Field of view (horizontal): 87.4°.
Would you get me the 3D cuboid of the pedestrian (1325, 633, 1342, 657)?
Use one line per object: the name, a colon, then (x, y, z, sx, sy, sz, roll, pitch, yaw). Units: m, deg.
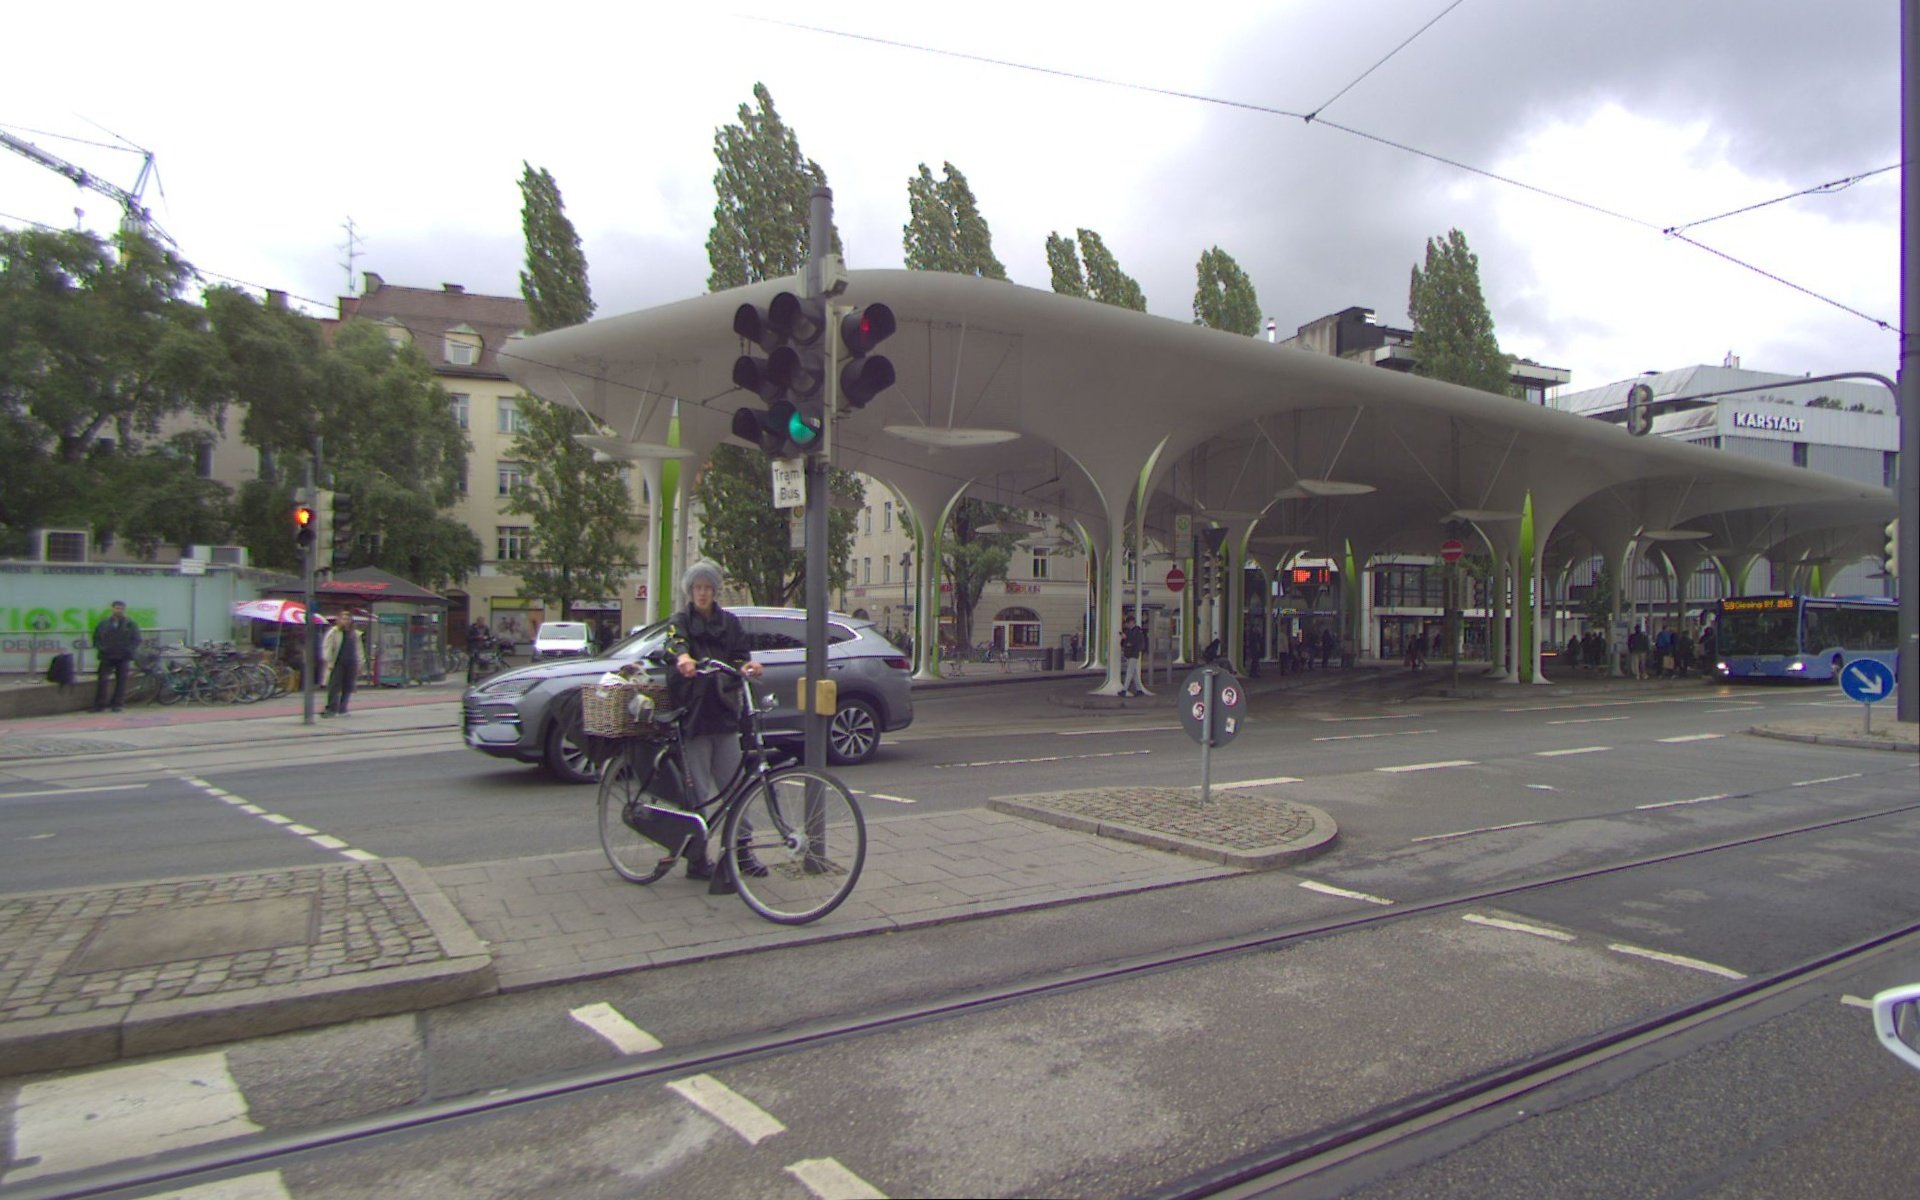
pedestrian: (25.914, 3.129, 69.647, 0.762, 1.683, 0.779, 1, -1, -20)

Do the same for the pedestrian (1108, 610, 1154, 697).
pedestrian: (3.772, 1.169, 22.107, 0.656, 1.863, 0.806, 0, -1, 42)

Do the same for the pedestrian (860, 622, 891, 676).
pedestrian: (-3.251, 1.879, 38.597, 1.010, 2.040, 1.002, 1, -1, -14)

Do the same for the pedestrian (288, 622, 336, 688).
pedestrian: (-16.254, 1.377, 25.221, 0.784, 1.621, 0.738, 1, -1, -15)

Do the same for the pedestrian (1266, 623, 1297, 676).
pedestrian: (10.959, 1.681, 34.215, 0.799, 1.750, 0.668, -1, -2, 44)

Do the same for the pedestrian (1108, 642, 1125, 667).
pedestrian: (7.116, 2.464, 45.645, 0.573, 1.098, 0.513, 1, -1, -37)

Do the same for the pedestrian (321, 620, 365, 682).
pedestrian: (-16.472, 1.358, 26.821, 0.784, 1.621, 0.738, 1, -1, -15)

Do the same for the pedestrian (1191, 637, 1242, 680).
pedestrian: (7.670, 1.745, 30.081, 1.248, 1.246, 0.811, 1, -1, -12)

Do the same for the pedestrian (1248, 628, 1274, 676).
pedestrian: (9.937, 1.704, 33.165, 0.586, 1.565, 0.634, -1, -2, 43)

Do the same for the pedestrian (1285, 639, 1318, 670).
pedestrian: (13.797, 2.190, 40.564, 0.867, 1.170, 0.908, 1, 1, -30)

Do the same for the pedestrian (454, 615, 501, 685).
pedestrian: (-12.617, 1.295, 26.254, 0.947, 1.785, 1.022, 1, -1, -33)

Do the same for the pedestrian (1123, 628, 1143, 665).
pedestrian: (7.938, 2.128, 46.079, 0.635, 1.669, 0.596, 2, -2, -37)

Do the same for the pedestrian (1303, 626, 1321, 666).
pedestrian: (15.398, 2.002, 43.962, 0.635, 1.719, 0.700, 0, -1, 11)

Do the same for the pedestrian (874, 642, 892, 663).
pedestrian: (-4.227, 2.874, 55.010, 0.606, 1.097, 1.835, 1, -1, -16)

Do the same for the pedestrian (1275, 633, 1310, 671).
pedestrian: (12.500, 1.953, 37.734, 0.829, 1.388, 0.961, 1, -1, -23)

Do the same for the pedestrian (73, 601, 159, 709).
pedestrian: (-13.965, 0.894, 16.647, 0.847, 1.739, 0.733, 1, -1, -19)

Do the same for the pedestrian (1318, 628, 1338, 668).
pedestrian: (15.113, 1.967, 41.262, 0.652, 1.585, 0.640, 0, -2, 35)

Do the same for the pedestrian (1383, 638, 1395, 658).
pedestrian: (30.610, 3.414, 71.633, 0.567, 1.351, 0.512, 1, -1, -11)

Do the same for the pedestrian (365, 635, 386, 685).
pedestrian: (-15.185, 1.557, 26.105, 0.425, 1.286, 0.409, 1, -1, -25)

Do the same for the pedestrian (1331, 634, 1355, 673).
pedestrian: (16.125, 2.237, 42.282, 0.691, 1.639, 0.644, 1, -1, -26)

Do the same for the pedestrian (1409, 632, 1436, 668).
pedestrian: (22.831, 2.462, 49.613, 0.884, 1.753, 0.868, 1, -1, -26)

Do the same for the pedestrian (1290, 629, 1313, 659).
pedestrian: (20.926, 2.678, 61.547, 0.981, 1.796, 0.930, 1, -1, -10)

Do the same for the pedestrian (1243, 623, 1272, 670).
pedestrian: (11.529, 1.795, 38.960, 0.772, 1.812, 0.759, 1, -1, -27)

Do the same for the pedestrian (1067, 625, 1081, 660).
pedestrian: (6.118, 2.285, 53.796, 0.546, 1.838, 0.556, 1, -1, -18)

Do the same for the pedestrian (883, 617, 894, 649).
pedestrian: (-4.587, 2.129, 64.534, 0.562, 2.040, 0.668, 1, -1, -12)

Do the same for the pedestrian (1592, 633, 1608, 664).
pedestrian: (33.990, 2.565, 53.312, 0.577, 1.632, 0.568, 2, -1, -39)

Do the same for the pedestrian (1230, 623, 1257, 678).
pedestrian: (10.052, 1.786, 35.648, 0.701, 1.897, 0.876, 0, -1, 32)

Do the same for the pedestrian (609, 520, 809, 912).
pedestrian: (-1.324, 0.560, 5.258, 0.883, 1.835, 0.857, 2, -1, -18)

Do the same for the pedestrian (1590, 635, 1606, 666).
pedestrian: (33.257, 2.627, 52.332, 0.543, 1.632, 0.568, 2, -1, -39)

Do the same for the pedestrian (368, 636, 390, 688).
pedestrian: (-14.803, 1.573, 25.592, 0.425, 1.286, 0.409, 1, -1, -25)

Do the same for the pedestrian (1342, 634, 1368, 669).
pedestrian: (17.642, 2.307, 44.915, 0.888, 1.528, 0.738, 2, -2, -37)

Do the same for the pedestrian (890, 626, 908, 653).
pedestrian: (-4.071, 2.619, 66.834, 0.792, 1.807, 0.951, 1, -1, -31)

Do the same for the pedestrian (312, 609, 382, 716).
pedestrian: (-9.814, 0.977, 16.082, 0.727, 1.650, 0.740, 0, -1, 39)

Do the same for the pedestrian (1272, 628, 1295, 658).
pedestrian: (19.735, 2.641, 61.283, 0.981, 1.796, 0.930, 1, -1, -10)

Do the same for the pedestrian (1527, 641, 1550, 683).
pedestrian: (29.040, 3.100, 50.449, 0.889, 2.040, 0.673, 0, -1, 18)
